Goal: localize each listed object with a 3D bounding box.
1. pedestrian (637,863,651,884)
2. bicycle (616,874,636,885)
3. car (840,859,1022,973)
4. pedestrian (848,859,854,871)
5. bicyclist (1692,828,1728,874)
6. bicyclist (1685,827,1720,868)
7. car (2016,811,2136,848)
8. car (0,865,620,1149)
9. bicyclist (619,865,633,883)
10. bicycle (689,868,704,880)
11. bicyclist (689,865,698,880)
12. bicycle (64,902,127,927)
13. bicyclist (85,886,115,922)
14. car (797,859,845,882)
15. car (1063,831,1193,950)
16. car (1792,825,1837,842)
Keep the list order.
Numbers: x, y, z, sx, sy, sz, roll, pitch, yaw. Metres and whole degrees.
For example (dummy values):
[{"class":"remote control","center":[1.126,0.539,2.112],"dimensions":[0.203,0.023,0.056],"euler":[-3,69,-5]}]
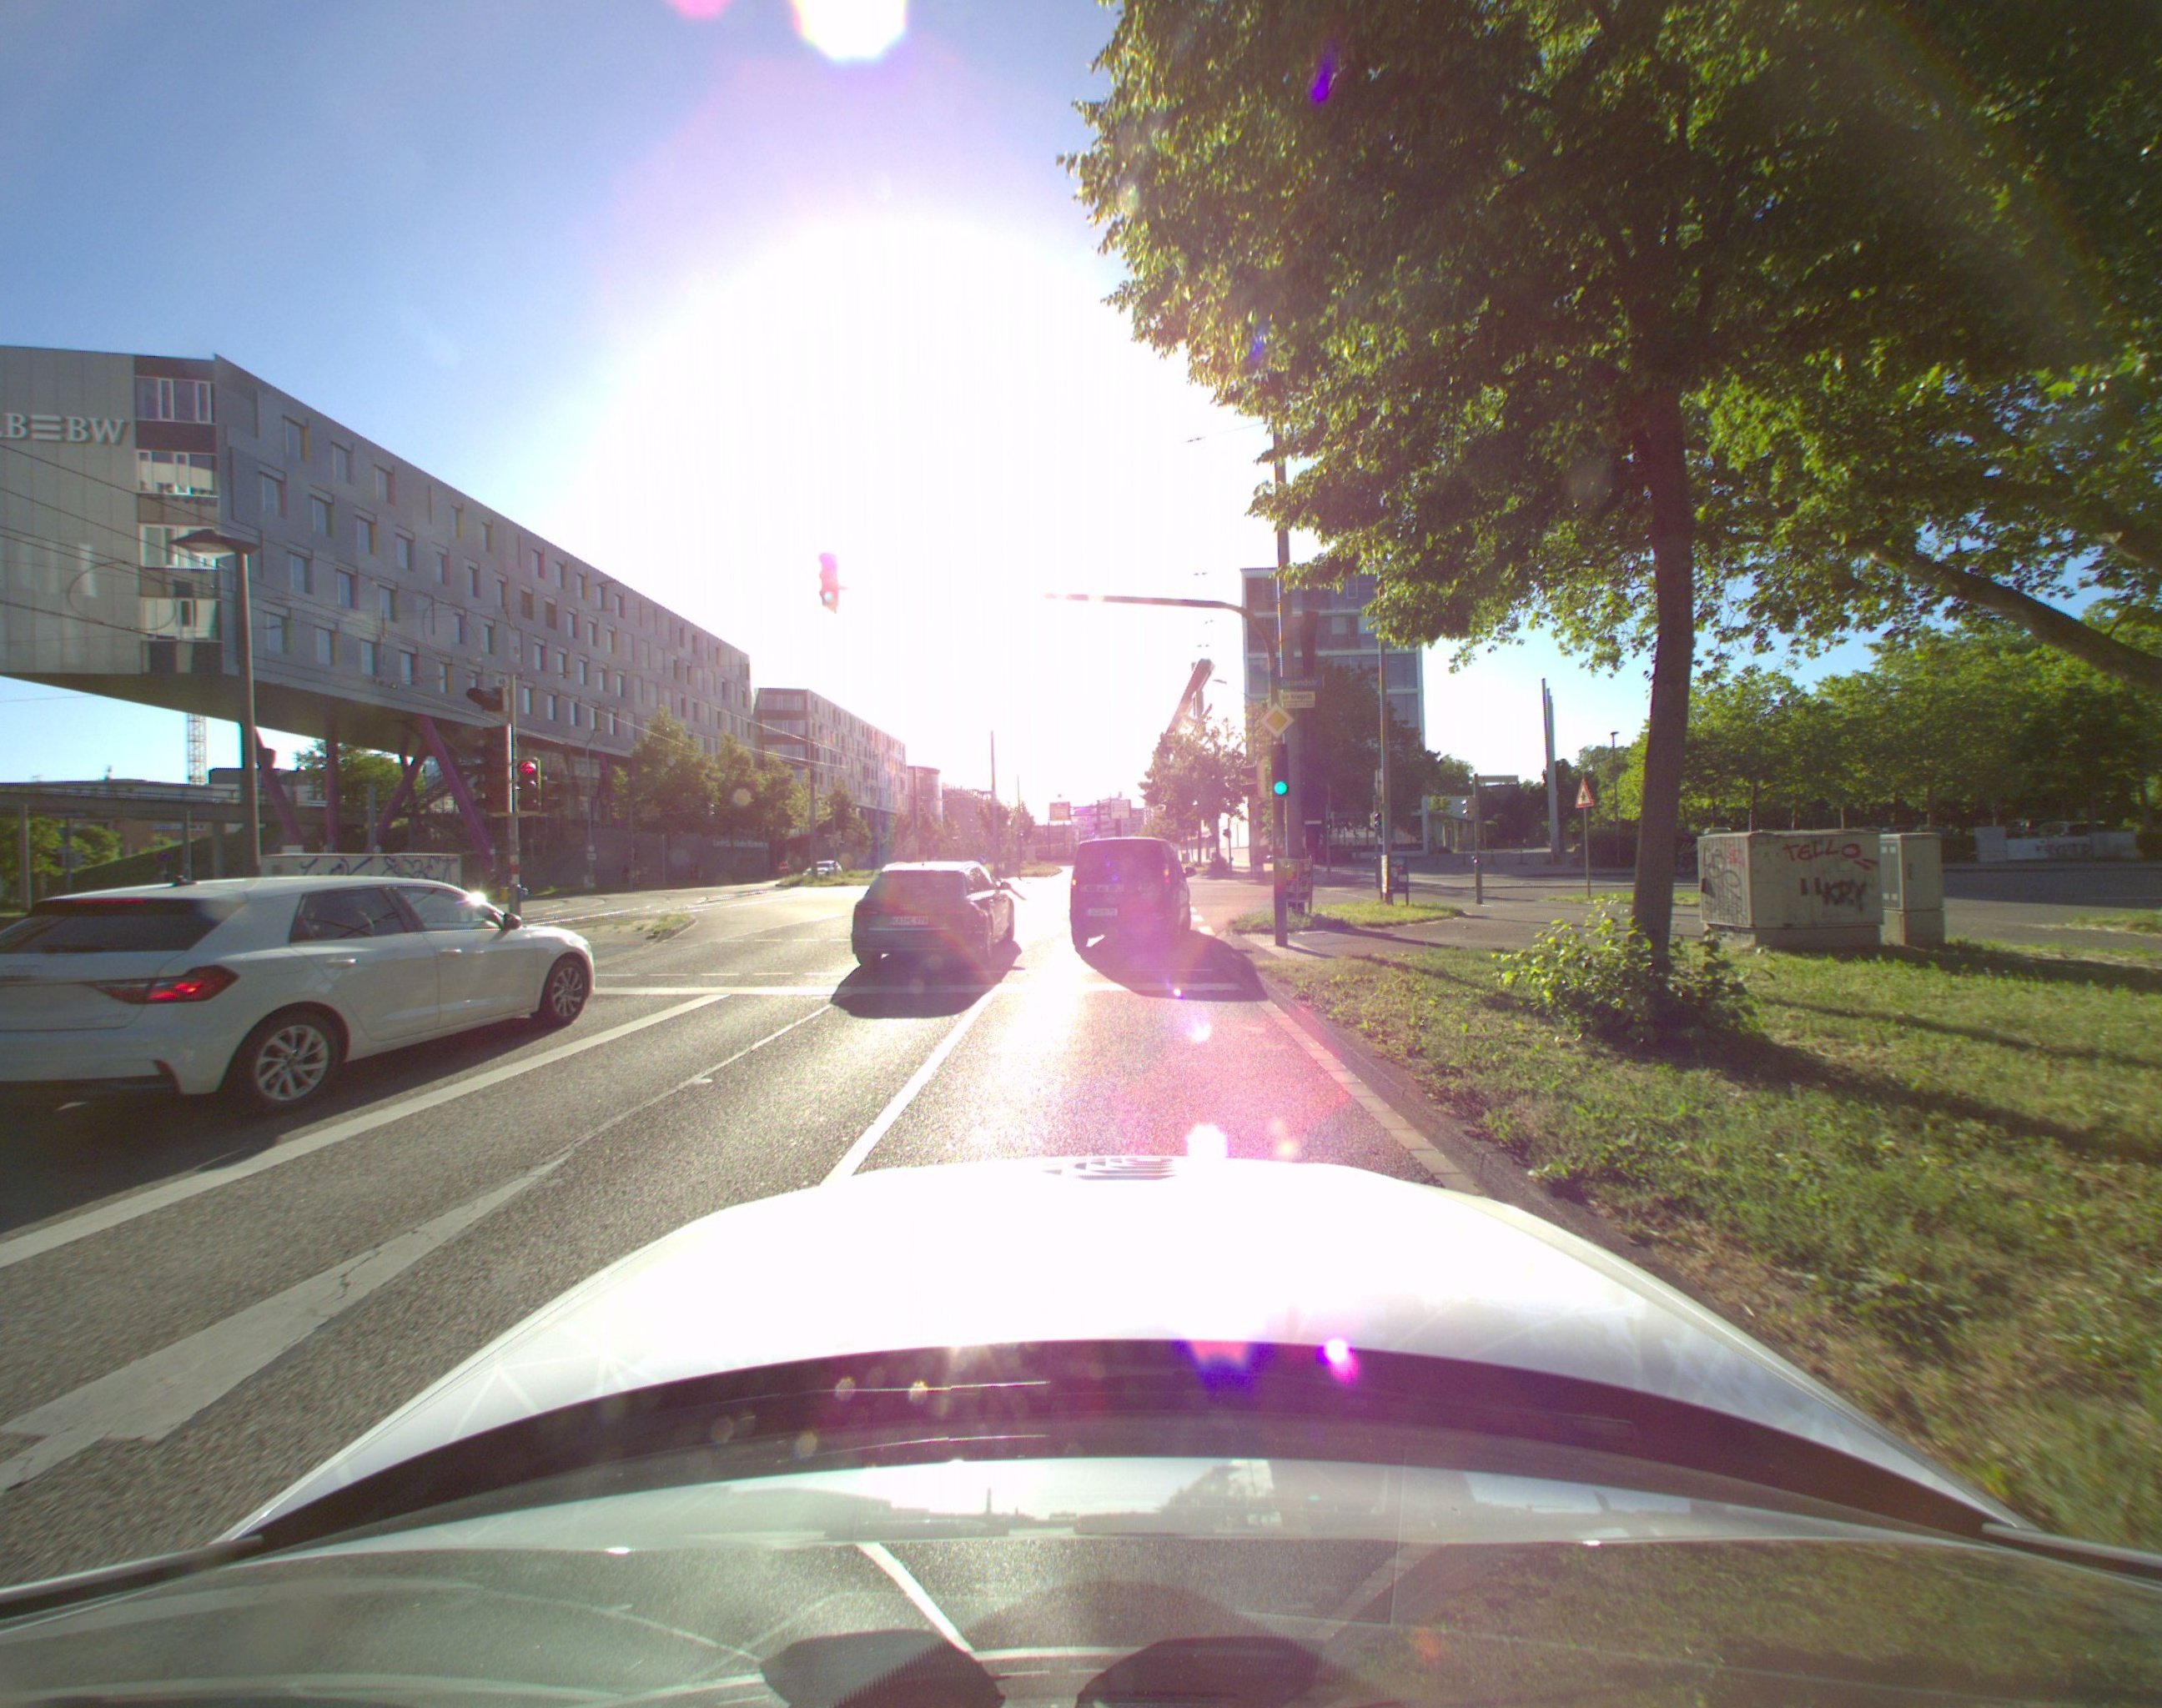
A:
[{"class":"pedestrian","center":[-39.705,1.759,73.928],"dimensions":[0.718,1.822,0.872],"euler":[-2,0,2]},{"class":"bicycle","center":[-37.381,2.097,66.913],"dimensions":[0.573,0.863,1.693],"euler":[-2,0,3]},{"class":"car","center":[-2.093,0.806,12.777],"dimensions":[1.805,1.427,4.692],"euler":[0,0,2]},{"class":"pedestrian","center":[-38.883,1.937,137.852],"dimensions":[0.733,2.013,0.690],"euler":[-2,-1,2]},{"class":"bicyclist","center":[24.781,-0.127,32.082],"dimensions":[0.867,1.737,0.836],"euler":[-2,0,19]},{"class":"bicyclist","center":[25.347,-0.273,33.224],"dimensions":[0.867,1.653,0.797],"euler":[-2,0,17]},{"class":"car","center":[41.768,-1.008,34.321],"dimensions":[1.974,1.465,4.025],"euler":[0,1,31]},{"class":"car","center":[-5.515,0.825,6.247],"dimensions":[1.666,1.426,4.005],"euler":[0,0,0]},{"class":"bicyclist","center":[-37.390,1.661,66.959],"dimensions":[0.568,1.435,0.959],"euler":[-2,0,3]},{"class":"bicycle","center":[-39.887,2.104,84.576],"dimensions":[0.518,1.172,1.976],"euler":[-2,0,2]},{"class":"bicyclist","center":[-40.246,1.955,84.587],"dimensions":[0.556,1.496,0.763],"euler":[-2,0,2]},{"class":"bicycle","center":[-39.829,2.421,32.941],"dimensions":[0.480,0.863,1.690],"euler":[-2,0,-2]},{"class":"bicyclist","center":[-39.846,2.011,33.086],"dimensions":[0.480,1.423,0.552],"euler":[-2,0,-2]},{"class":"car","center":[-19.640,1.189,61.815],"dimensions":[1.987,1.562,4.872],"euler":[-2,0,1]},{"class":"car","center":[0.989,0.563,14.586],"dimensions":[1.837,1.814,4.126],"euler":[0,0,10]},{"class":"car","center":[64.785,-1.816,71.958],"dimensions":[1.975,1.465,4.024],"euler":[0,1,27]}]
